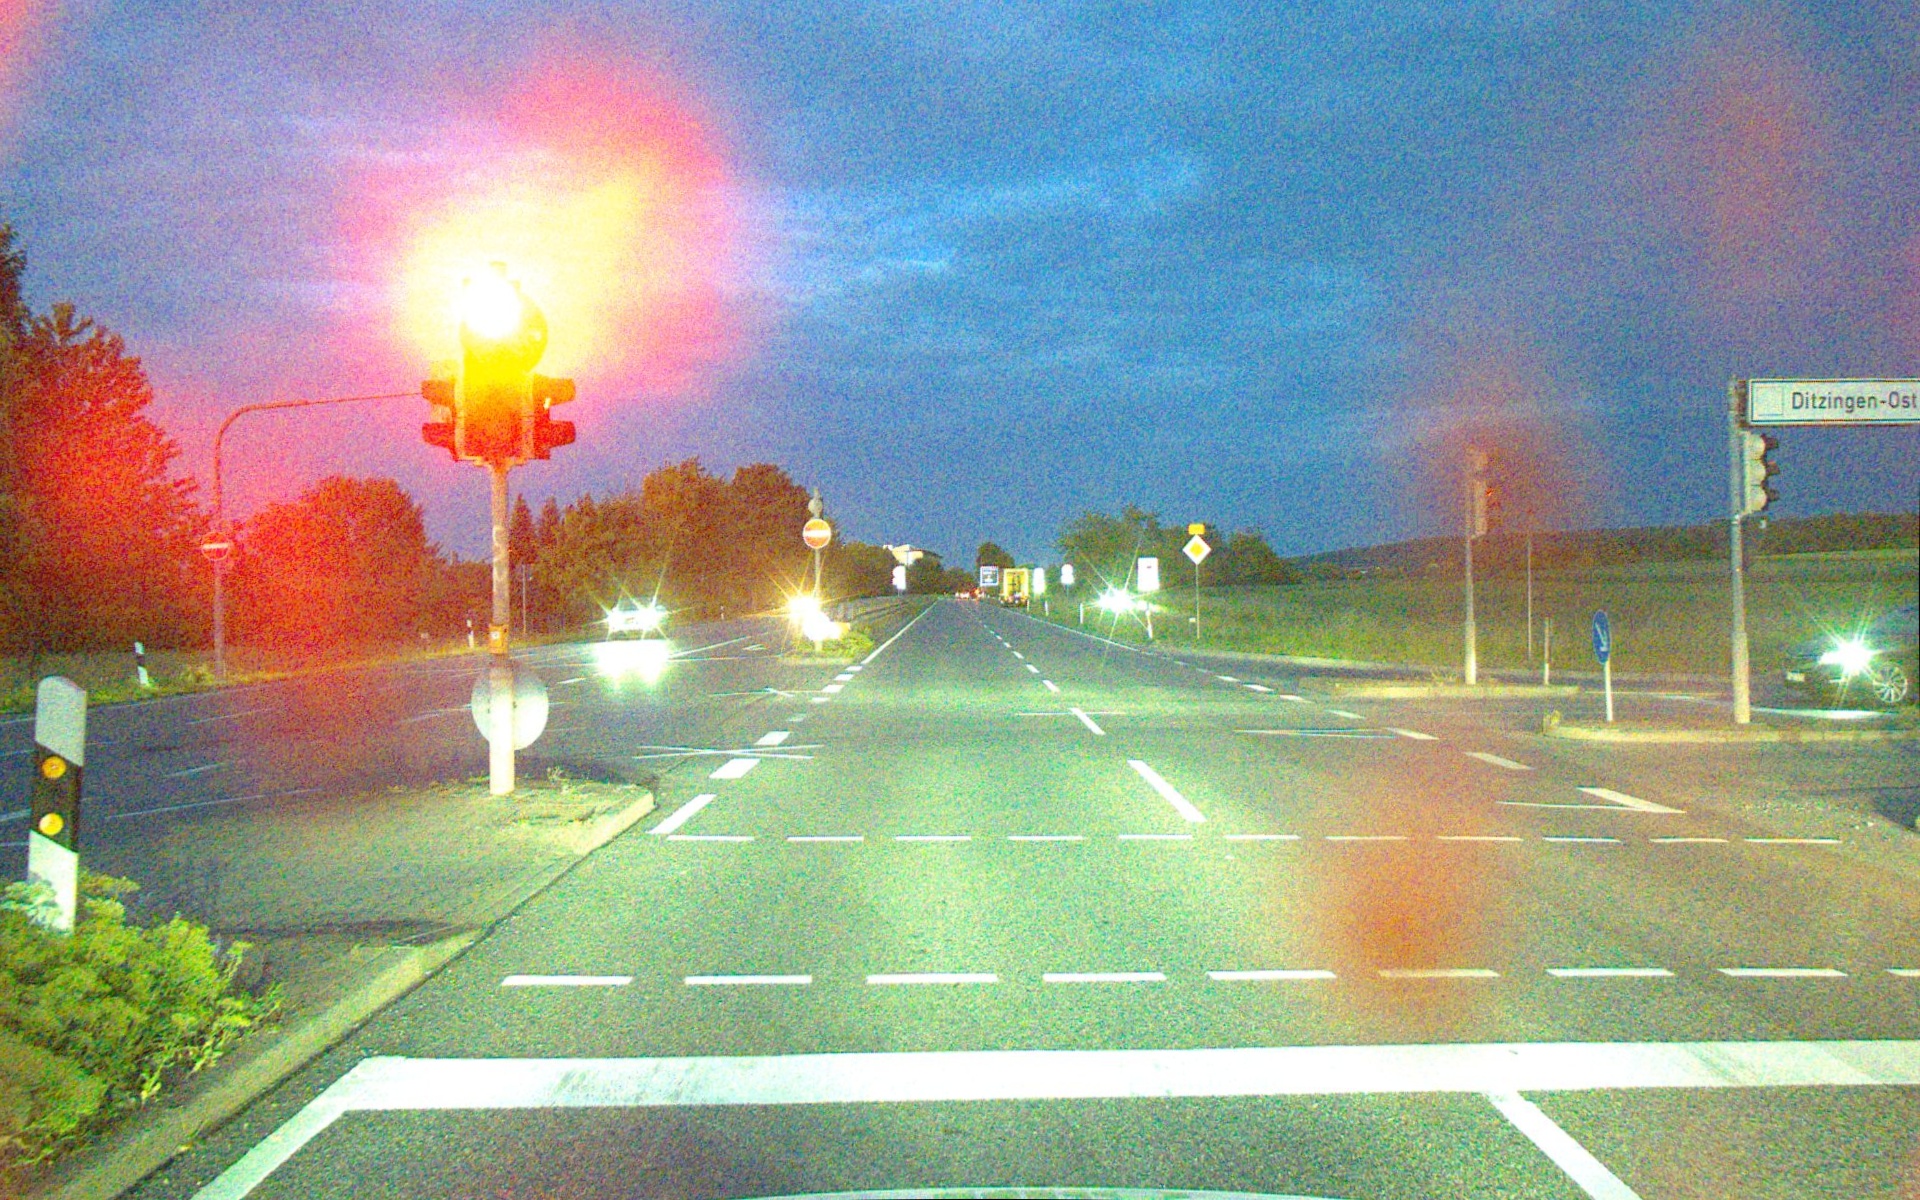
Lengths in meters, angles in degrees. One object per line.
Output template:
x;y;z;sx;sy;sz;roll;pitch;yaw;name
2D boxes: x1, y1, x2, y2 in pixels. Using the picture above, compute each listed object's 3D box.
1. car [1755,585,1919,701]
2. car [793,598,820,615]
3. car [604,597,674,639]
14.254;0.555;23.947;4.507;1.547;2.000;-2;0;0;car
-13.235;0.559;142.765;1.953;1.411;3.999;-1;0;-1;car
-12.525;0.660;64.802;1.953;1.545;4.297;-1;0;-1;car
